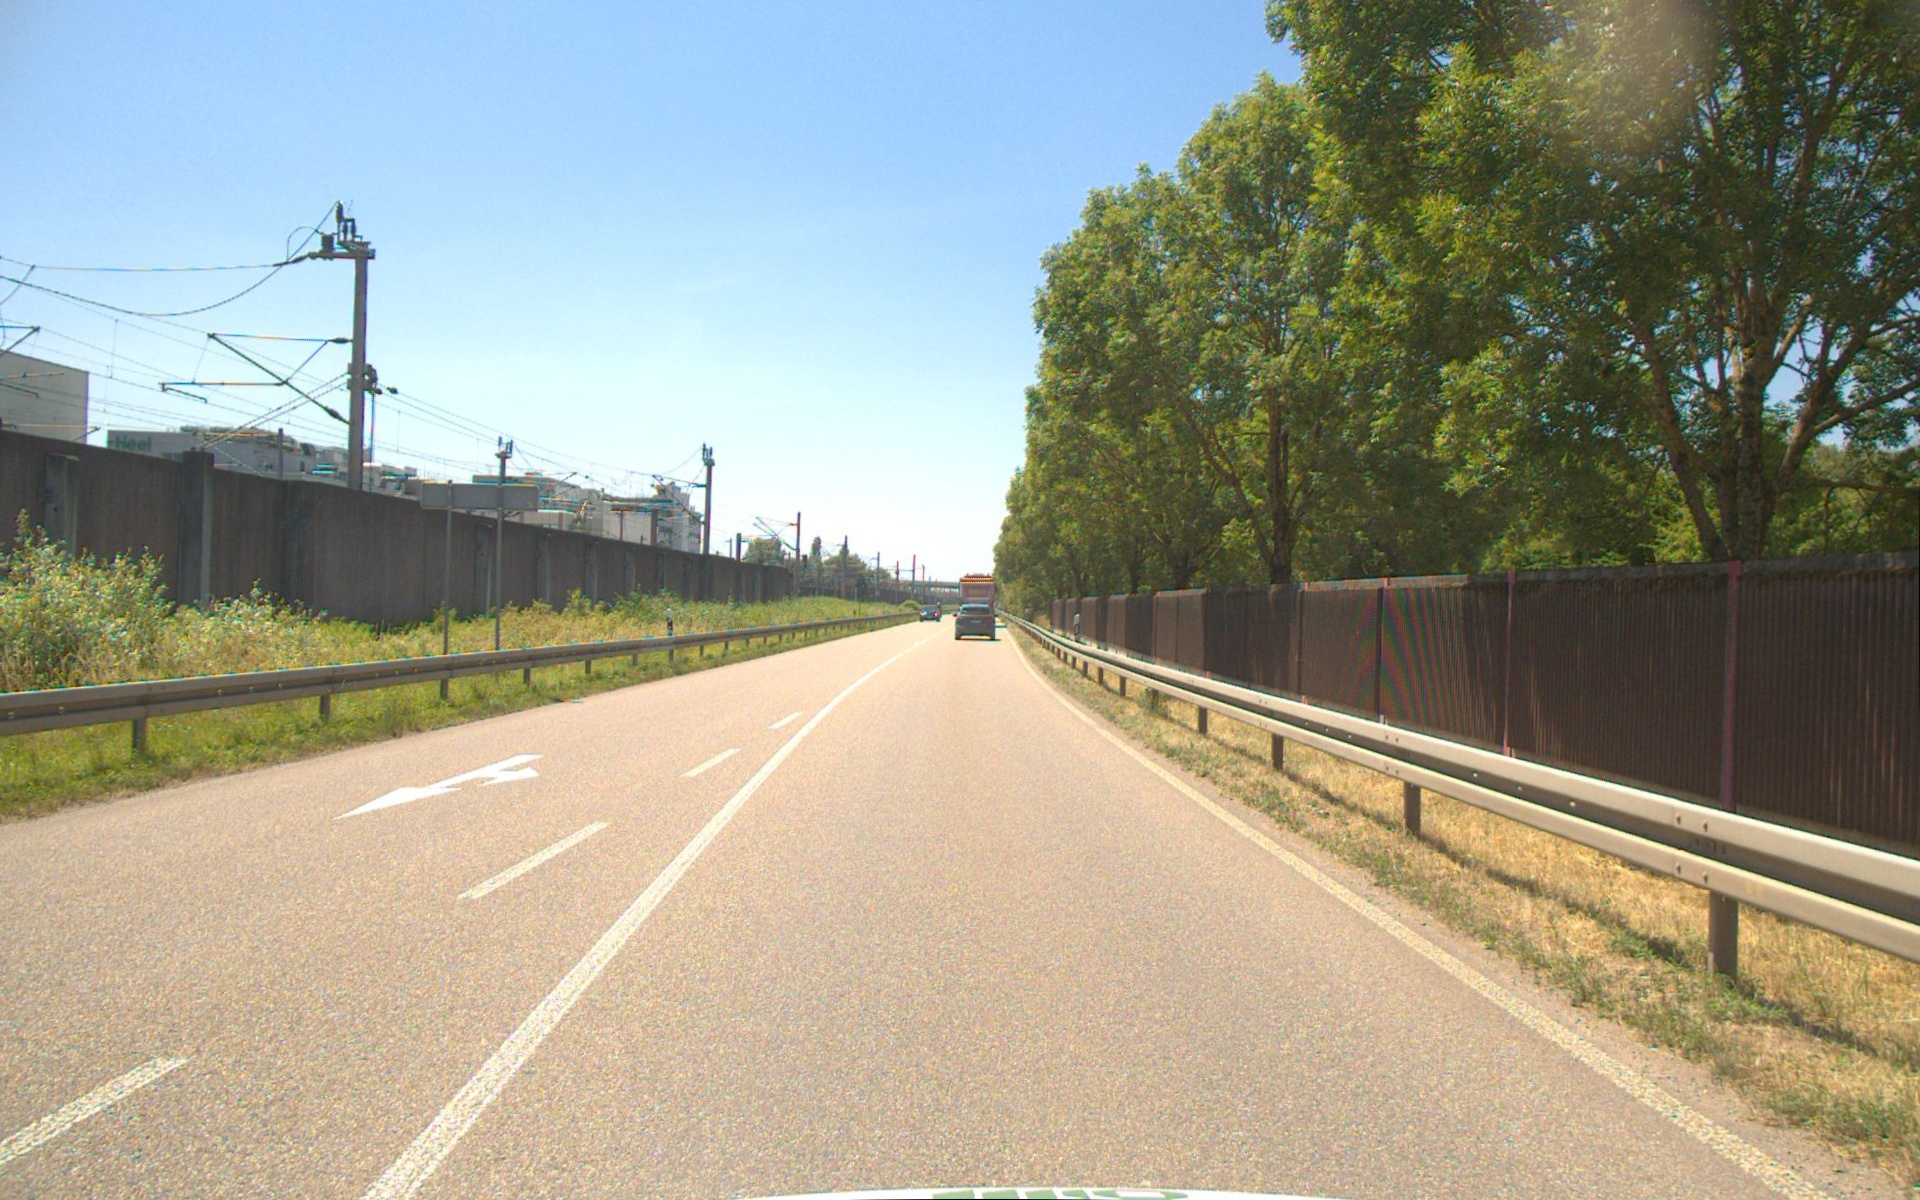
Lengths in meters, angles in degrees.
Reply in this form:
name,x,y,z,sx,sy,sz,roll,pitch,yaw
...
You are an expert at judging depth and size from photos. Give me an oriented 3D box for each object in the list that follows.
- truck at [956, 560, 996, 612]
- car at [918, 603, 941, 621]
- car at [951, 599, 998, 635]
name,x,y,z,sx,sy,sz,roll,pitch,yaw
truck,1.156,-0.922,118.962,2.713,3.485,10.820,1,0,1
car,-2.734,1.062,148.571,1.952,1.534,4.000,0,0,0
car,0.606,0.744,73.654,1.953,1.534,3.999,0,0,-1
